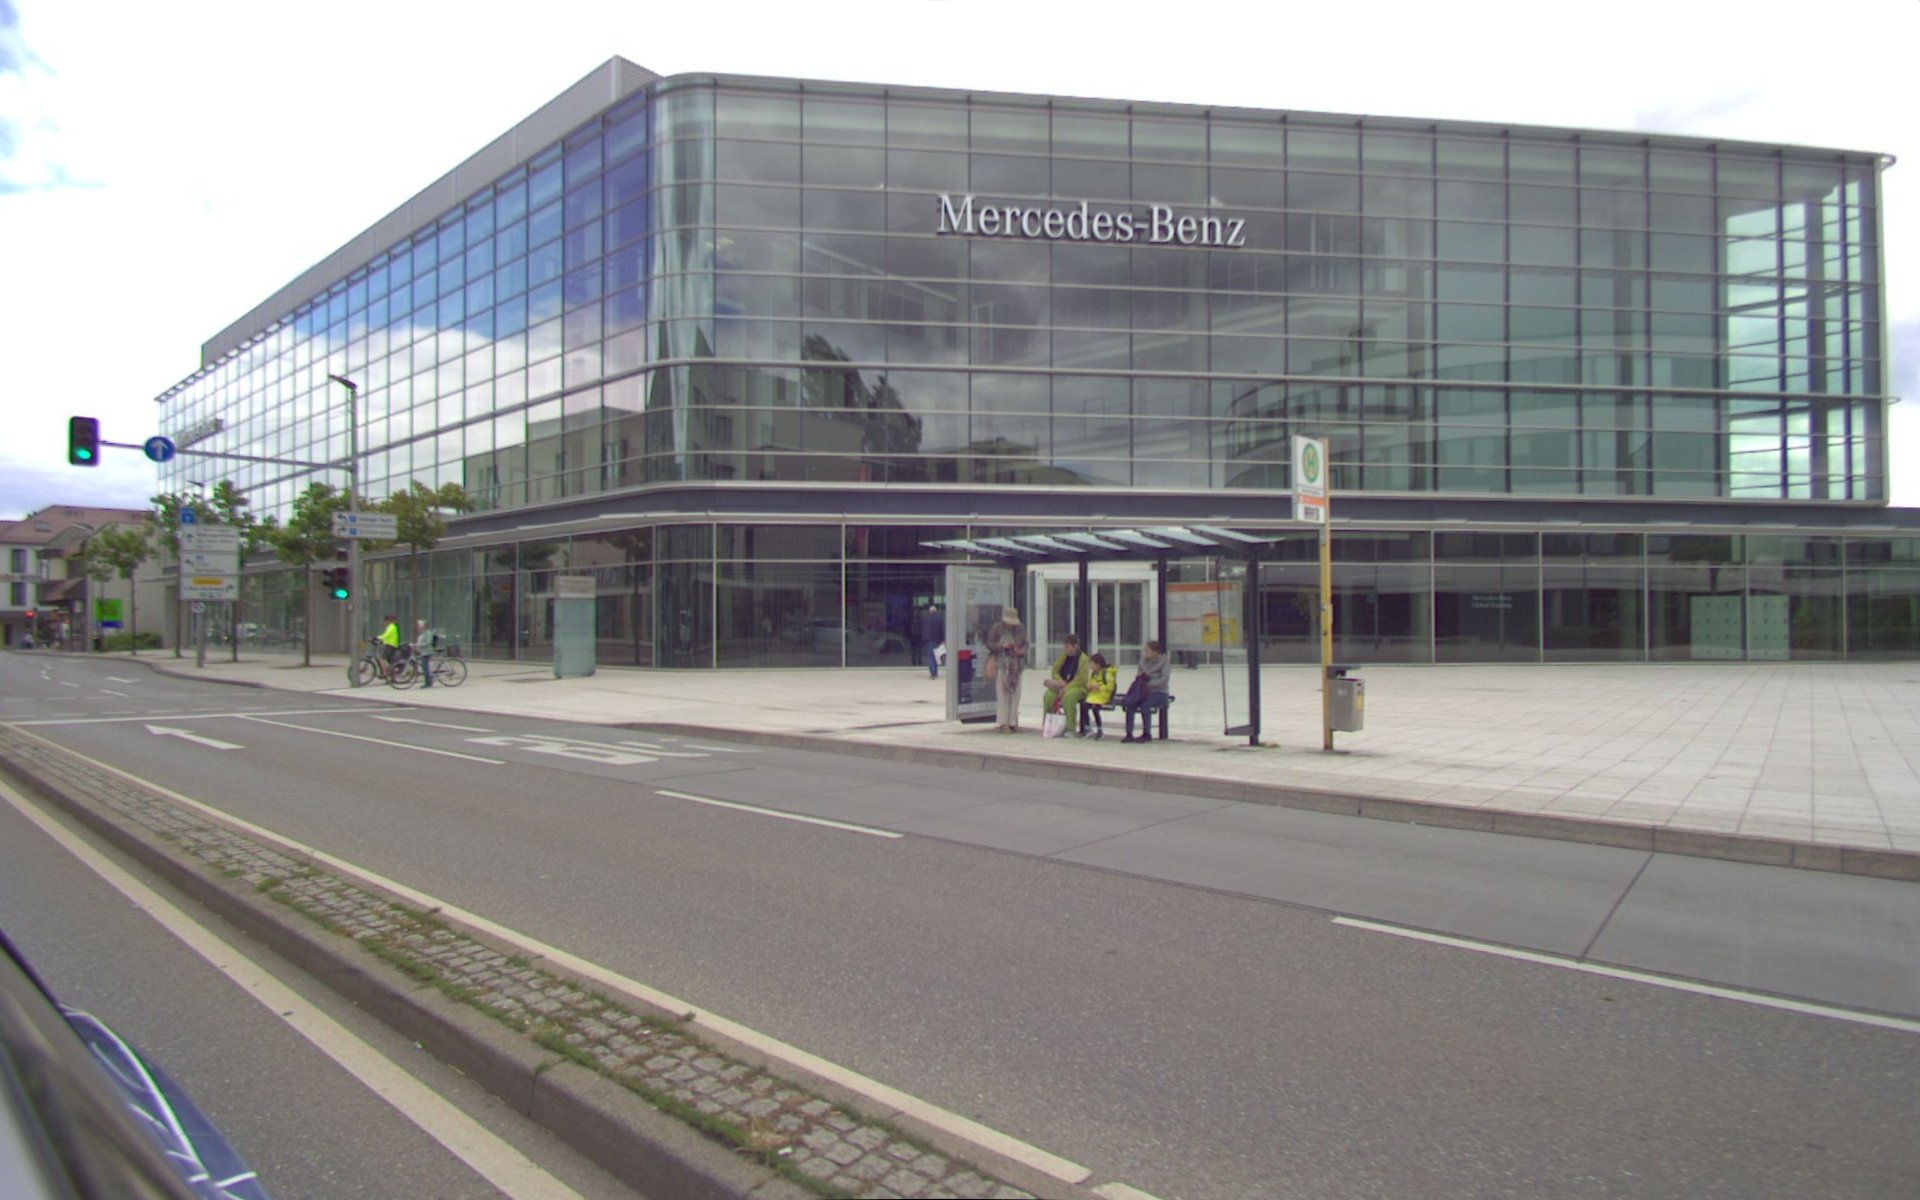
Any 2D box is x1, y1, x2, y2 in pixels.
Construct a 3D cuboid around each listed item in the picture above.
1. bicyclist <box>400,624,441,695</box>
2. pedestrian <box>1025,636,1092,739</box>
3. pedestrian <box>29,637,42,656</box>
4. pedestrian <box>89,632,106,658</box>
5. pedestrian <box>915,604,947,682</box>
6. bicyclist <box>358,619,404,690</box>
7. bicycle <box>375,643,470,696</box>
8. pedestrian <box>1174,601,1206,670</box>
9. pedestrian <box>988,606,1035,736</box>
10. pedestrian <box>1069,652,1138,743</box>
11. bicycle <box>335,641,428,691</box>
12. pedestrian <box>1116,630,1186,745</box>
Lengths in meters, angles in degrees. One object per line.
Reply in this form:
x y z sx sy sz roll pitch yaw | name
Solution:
-13.272 1.445 24.886 0.771 1.661 0.640 -2 0 -34 | bicyclist
1.260 1.095 12.891 0.575 1.263 0.677 -2 -3 39 | pedestrian
-76.237 3.847 83.466 0.577 1.527 0.552 -1 -2 8 | pedestrian
-55.829 2.893 65.517 0.693 1.636 0.693 -2 -3 40 | pedestrian
-0.732 1.091 26.003 0.740 1.960 0.902 -1 -1 2 | pedestrian
-15.379 1.433 26.906 0.762 1.813 0.748 -2 0 -5 | bicyclist
-13.230 1.700 24.925 1.973 1.139 0.640 -2 0 -34 | bicycle
6.633 1.005 29.173 0.746 1.960 0.680 -1 -1 28 | pedestrian
0.662 0.908 13.144 0.568 1.644 0.686 0 -3 0 | pedestrian
1.782 1.189 12.545 0.575 1.084 0.677 -2 -4 39 | pedestrian
-15.370 1.742 26.926 2.000 1.215 0.748 -2 0 -5 | bicycle
2.287 1.028 12.111 0.575 1.330 0.677 -2 -4 39 | pedestrian
